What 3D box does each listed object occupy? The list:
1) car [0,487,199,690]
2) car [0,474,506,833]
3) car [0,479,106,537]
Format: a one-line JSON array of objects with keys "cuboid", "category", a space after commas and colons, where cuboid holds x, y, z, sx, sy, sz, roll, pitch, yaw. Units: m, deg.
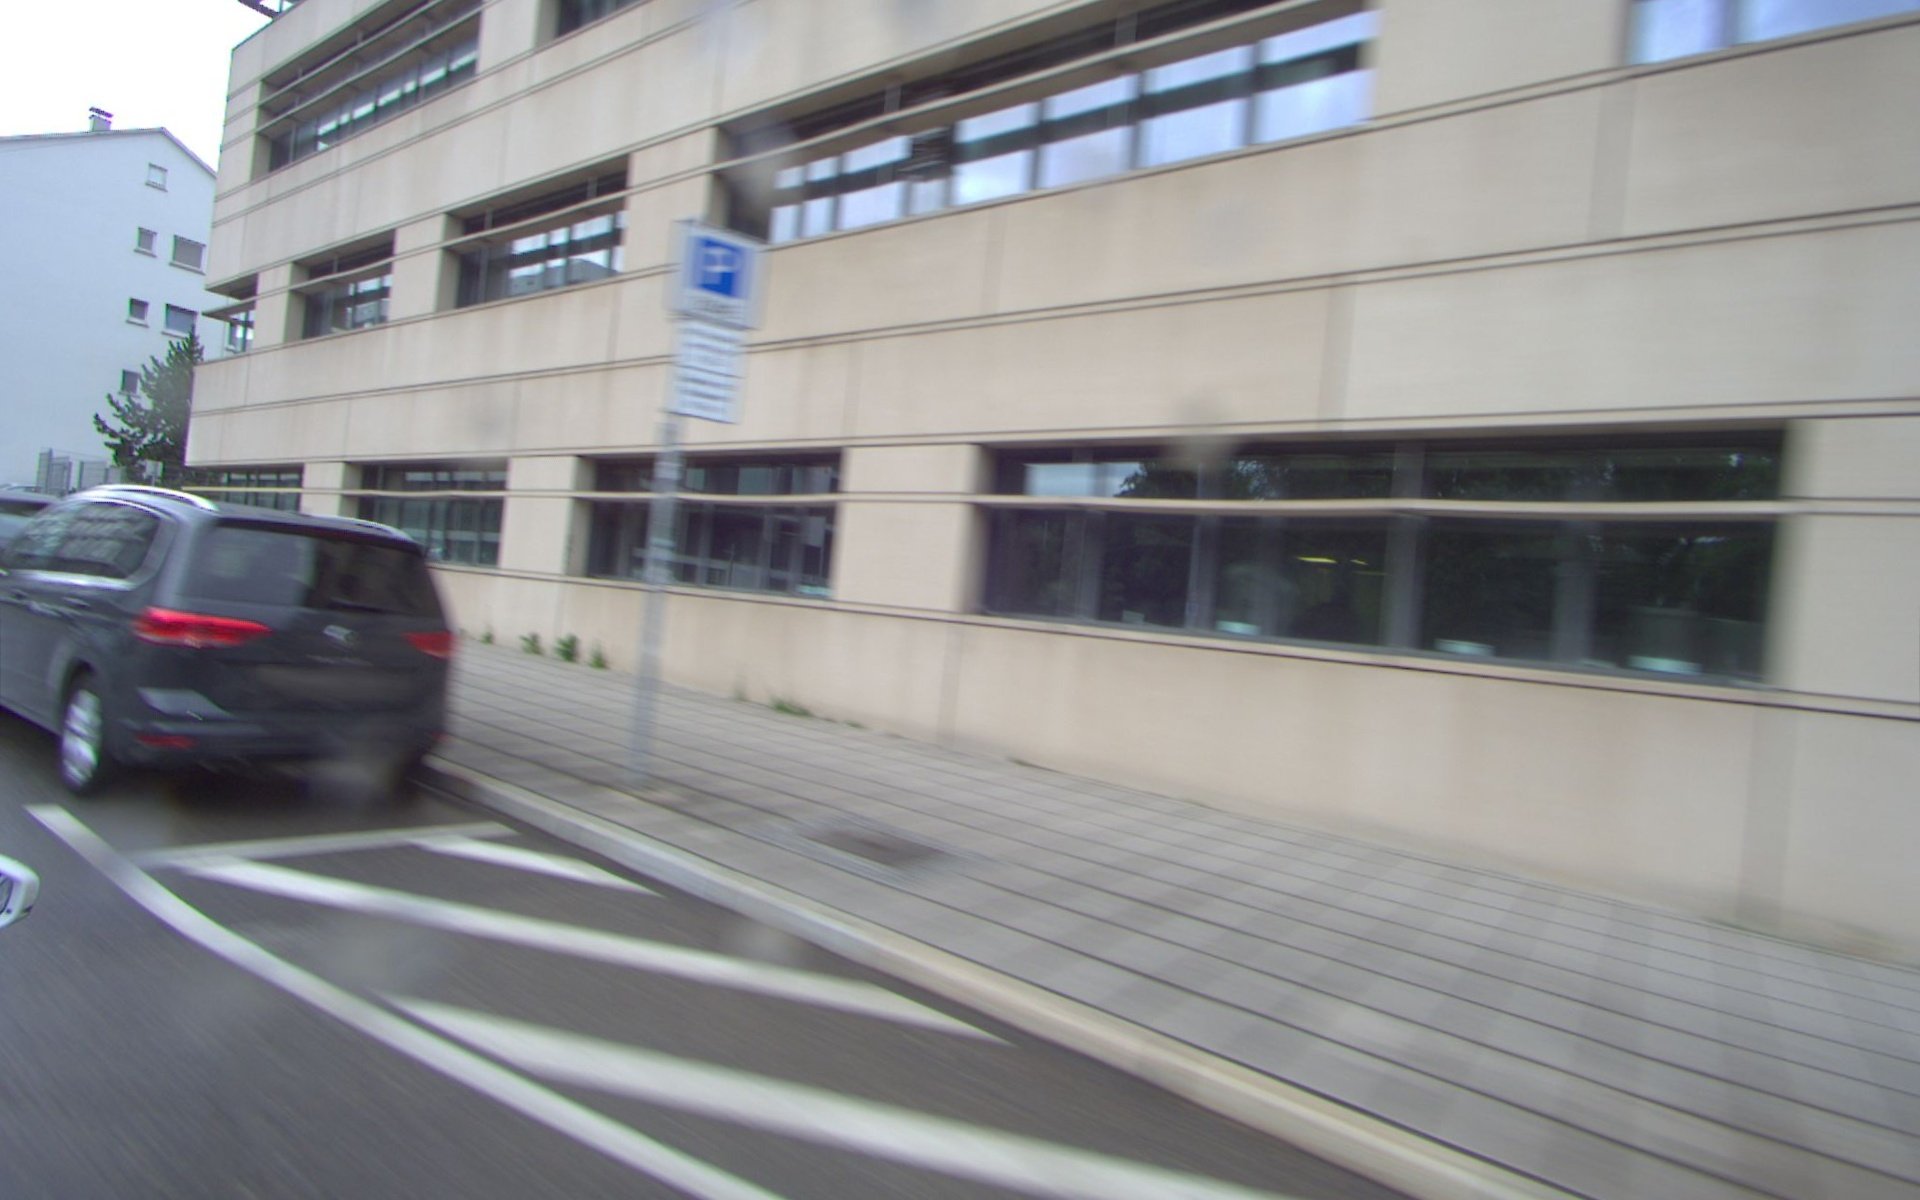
[{"cuboid": [-8.995, -0.231, 9.431, 3.995, 1.529, 1.728, 6, -3, 36], "category": "car"}, {"cuboid": [-5.123, 0.166, 6.643, 4.325, 1.622, 1.773, 7, -2, 35], "category": "car"}, {"cuboid": [-33.808, -3.393, 36.103, 1.875, 1.735, 4.435, 7, 1, 35], "category": "car"}]
